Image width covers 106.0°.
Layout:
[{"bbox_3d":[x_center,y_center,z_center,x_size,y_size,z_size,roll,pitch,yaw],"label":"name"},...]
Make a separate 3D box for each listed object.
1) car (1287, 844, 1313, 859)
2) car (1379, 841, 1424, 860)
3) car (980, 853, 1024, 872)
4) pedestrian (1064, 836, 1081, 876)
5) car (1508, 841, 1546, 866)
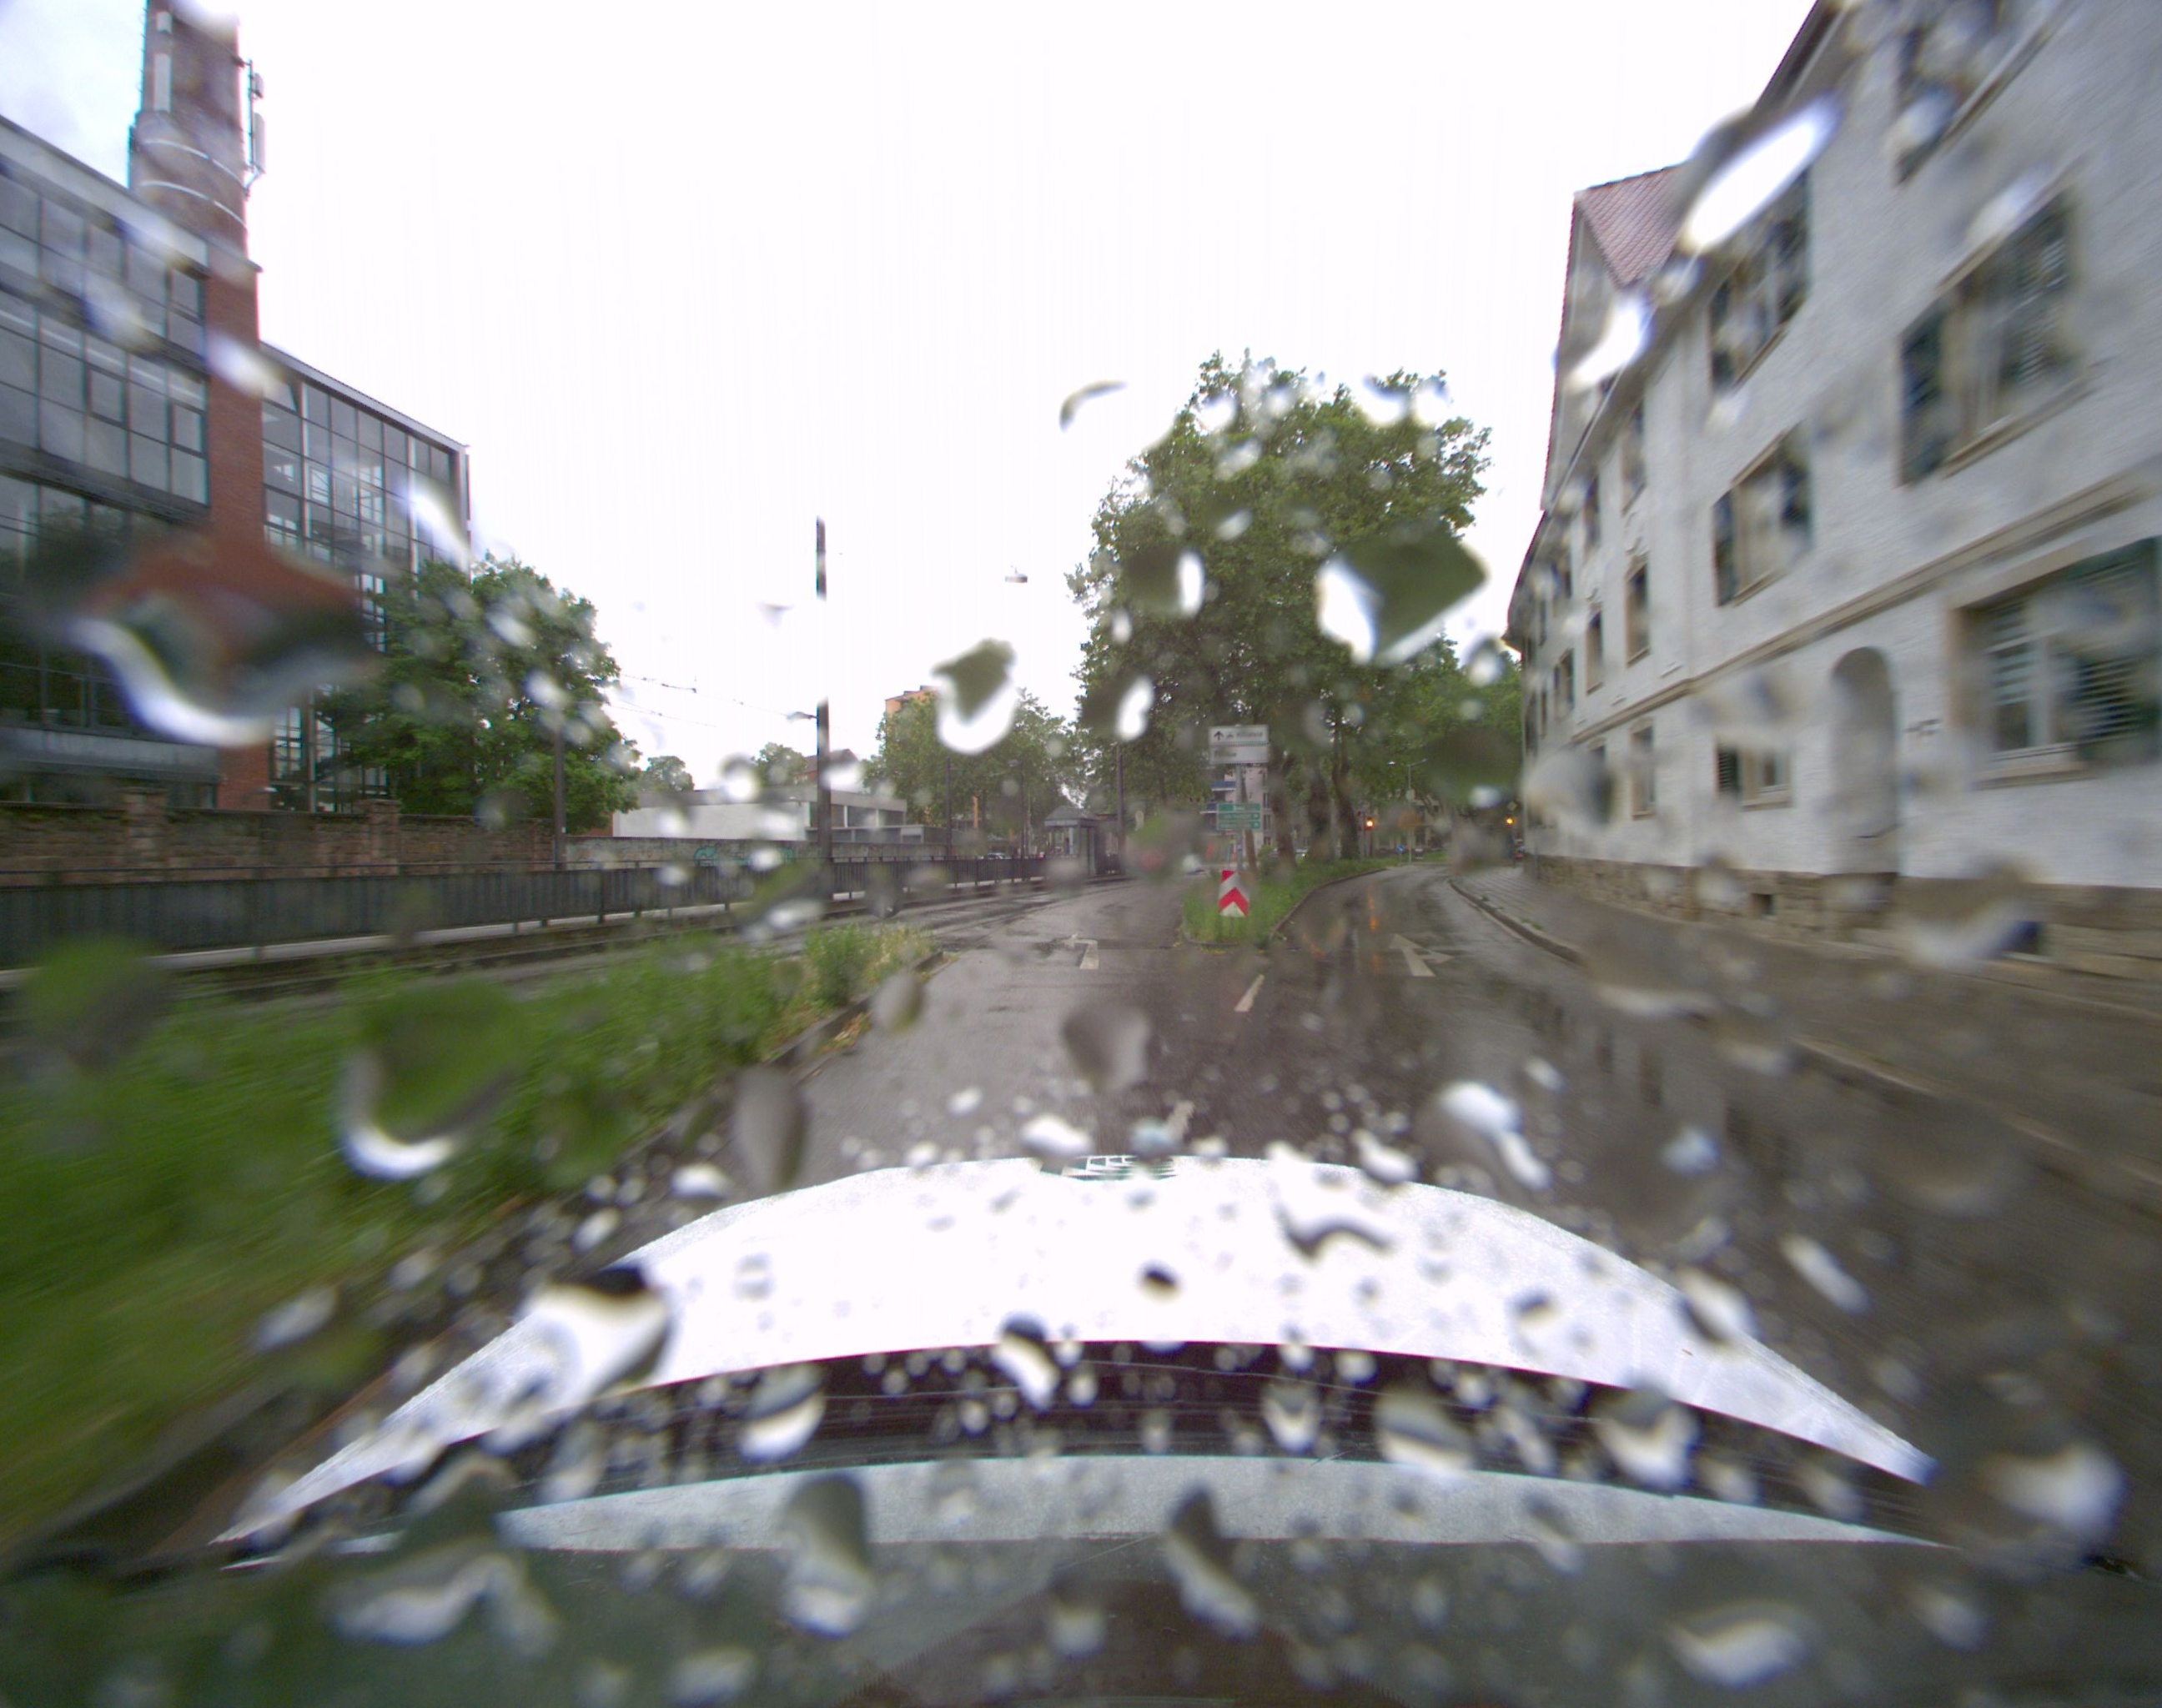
[{"bbox_3d":[24.078,-0.299,89.571,1.708,1.552,3.582,-3,-1,33],"label":"car"},{"bbox_3d":[28.880,-0.270,73.390,3.445,1.523,1.530,-3,-1,36],"label":"car"},{"bbox_3d":[-7.848,0.810,80.660,3.967,1.651,1.985,-3,-1,39],"label":"car"},{"bbox_3d":[-0.386,0.094,36.134,0.582,1.731,0.565,-3,-1,-15],"label":"pedestrian"},{"bbox_3d":[39.523,-0.030,72.114,1.975,2.013,4.025,-4,-1,43],"label":"car"}]
